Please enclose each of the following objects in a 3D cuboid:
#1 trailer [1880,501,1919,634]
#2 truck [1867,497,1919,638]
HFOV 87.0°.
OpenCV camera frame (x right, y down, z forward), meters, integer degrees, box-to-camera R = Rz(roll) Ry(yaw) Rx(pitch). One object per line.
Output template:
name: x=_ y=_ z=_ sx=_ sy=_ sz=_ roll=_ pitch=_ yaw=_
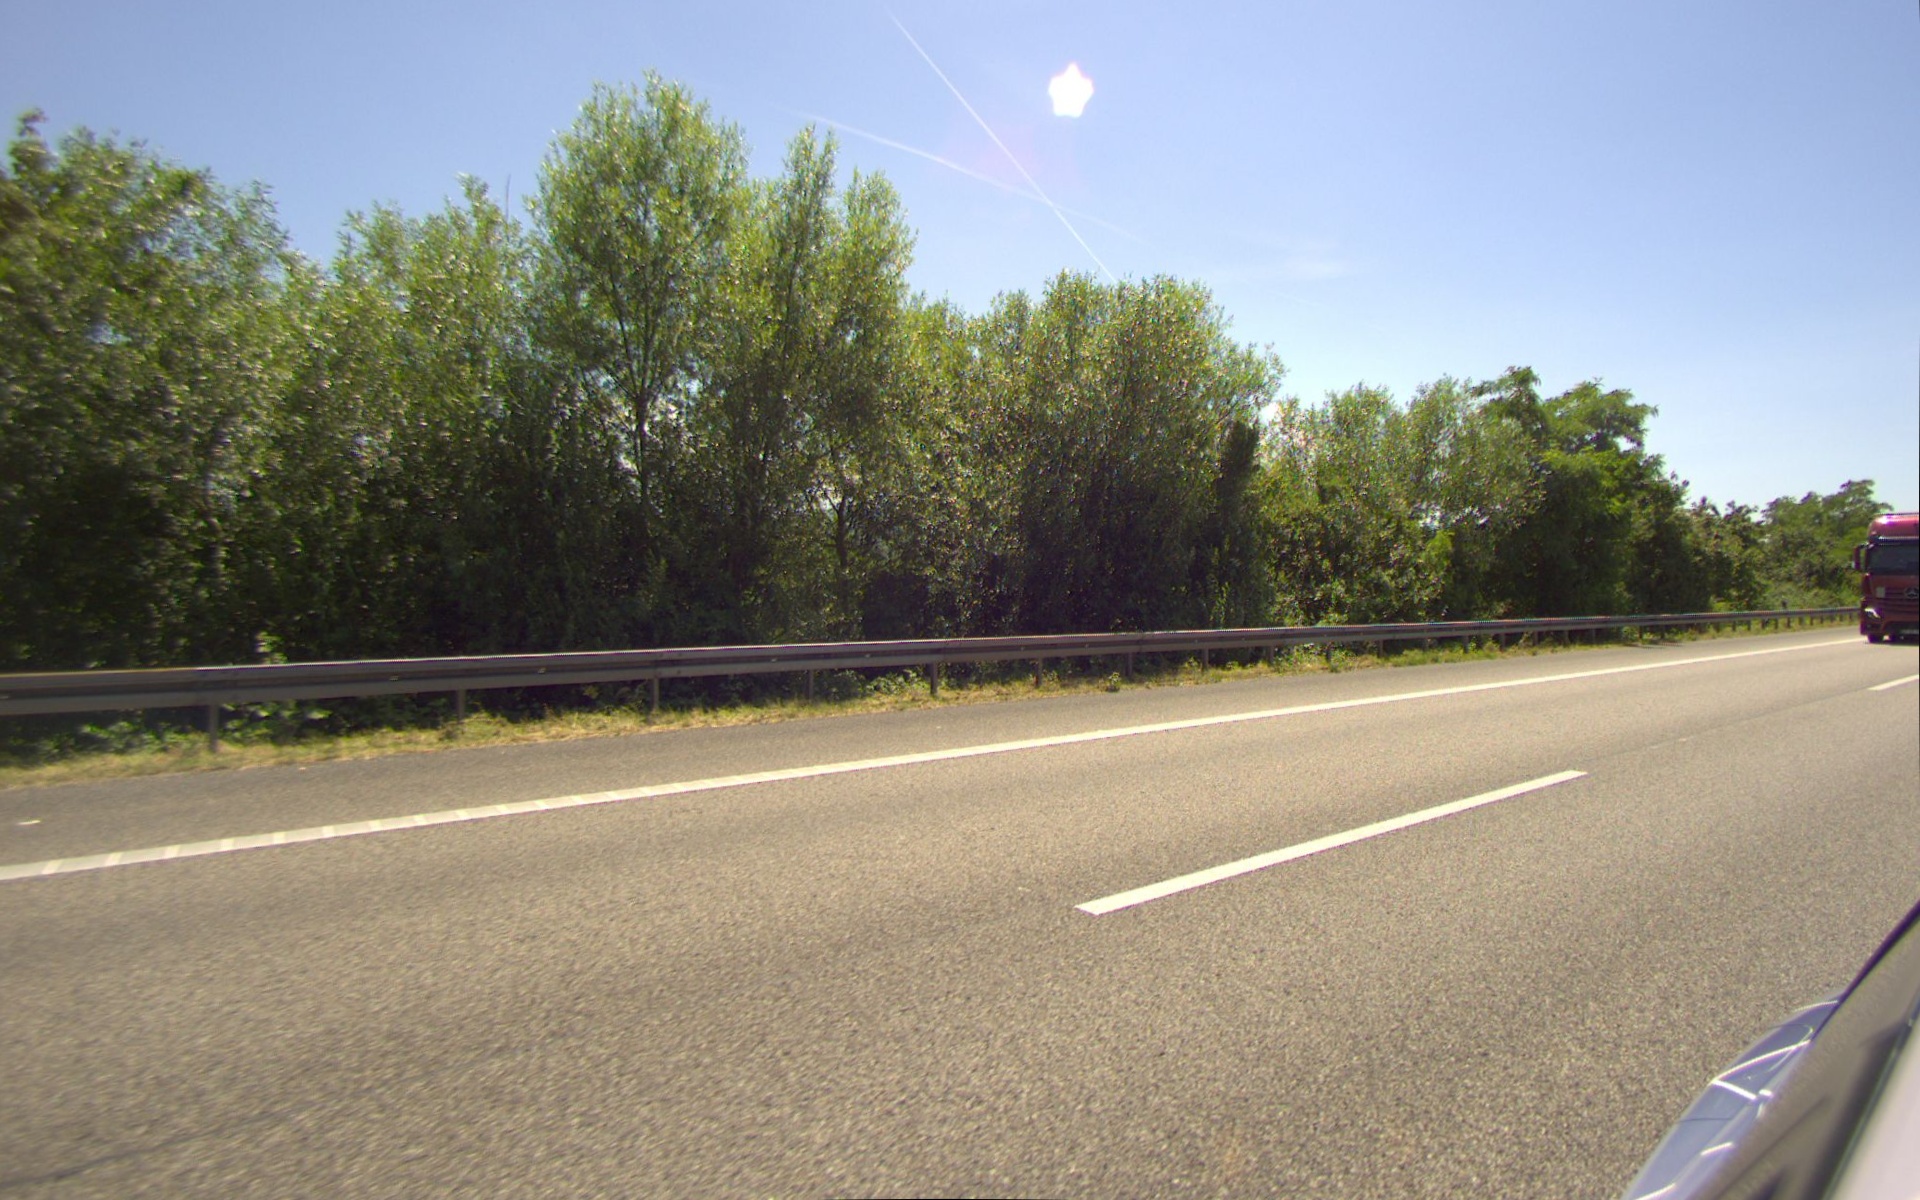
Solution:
trailer: x=35.565 y=-1.046 z=35.546 sx=13.898 sy=4.138 sz=2.714 roll=-1 pitch=3 yaw=-40
truck: x=31.050 y=-0.976 z=31.776 sx=6.840 sy=4.138 sz=2.714 roll=0 pitch=3 yaw=-40
